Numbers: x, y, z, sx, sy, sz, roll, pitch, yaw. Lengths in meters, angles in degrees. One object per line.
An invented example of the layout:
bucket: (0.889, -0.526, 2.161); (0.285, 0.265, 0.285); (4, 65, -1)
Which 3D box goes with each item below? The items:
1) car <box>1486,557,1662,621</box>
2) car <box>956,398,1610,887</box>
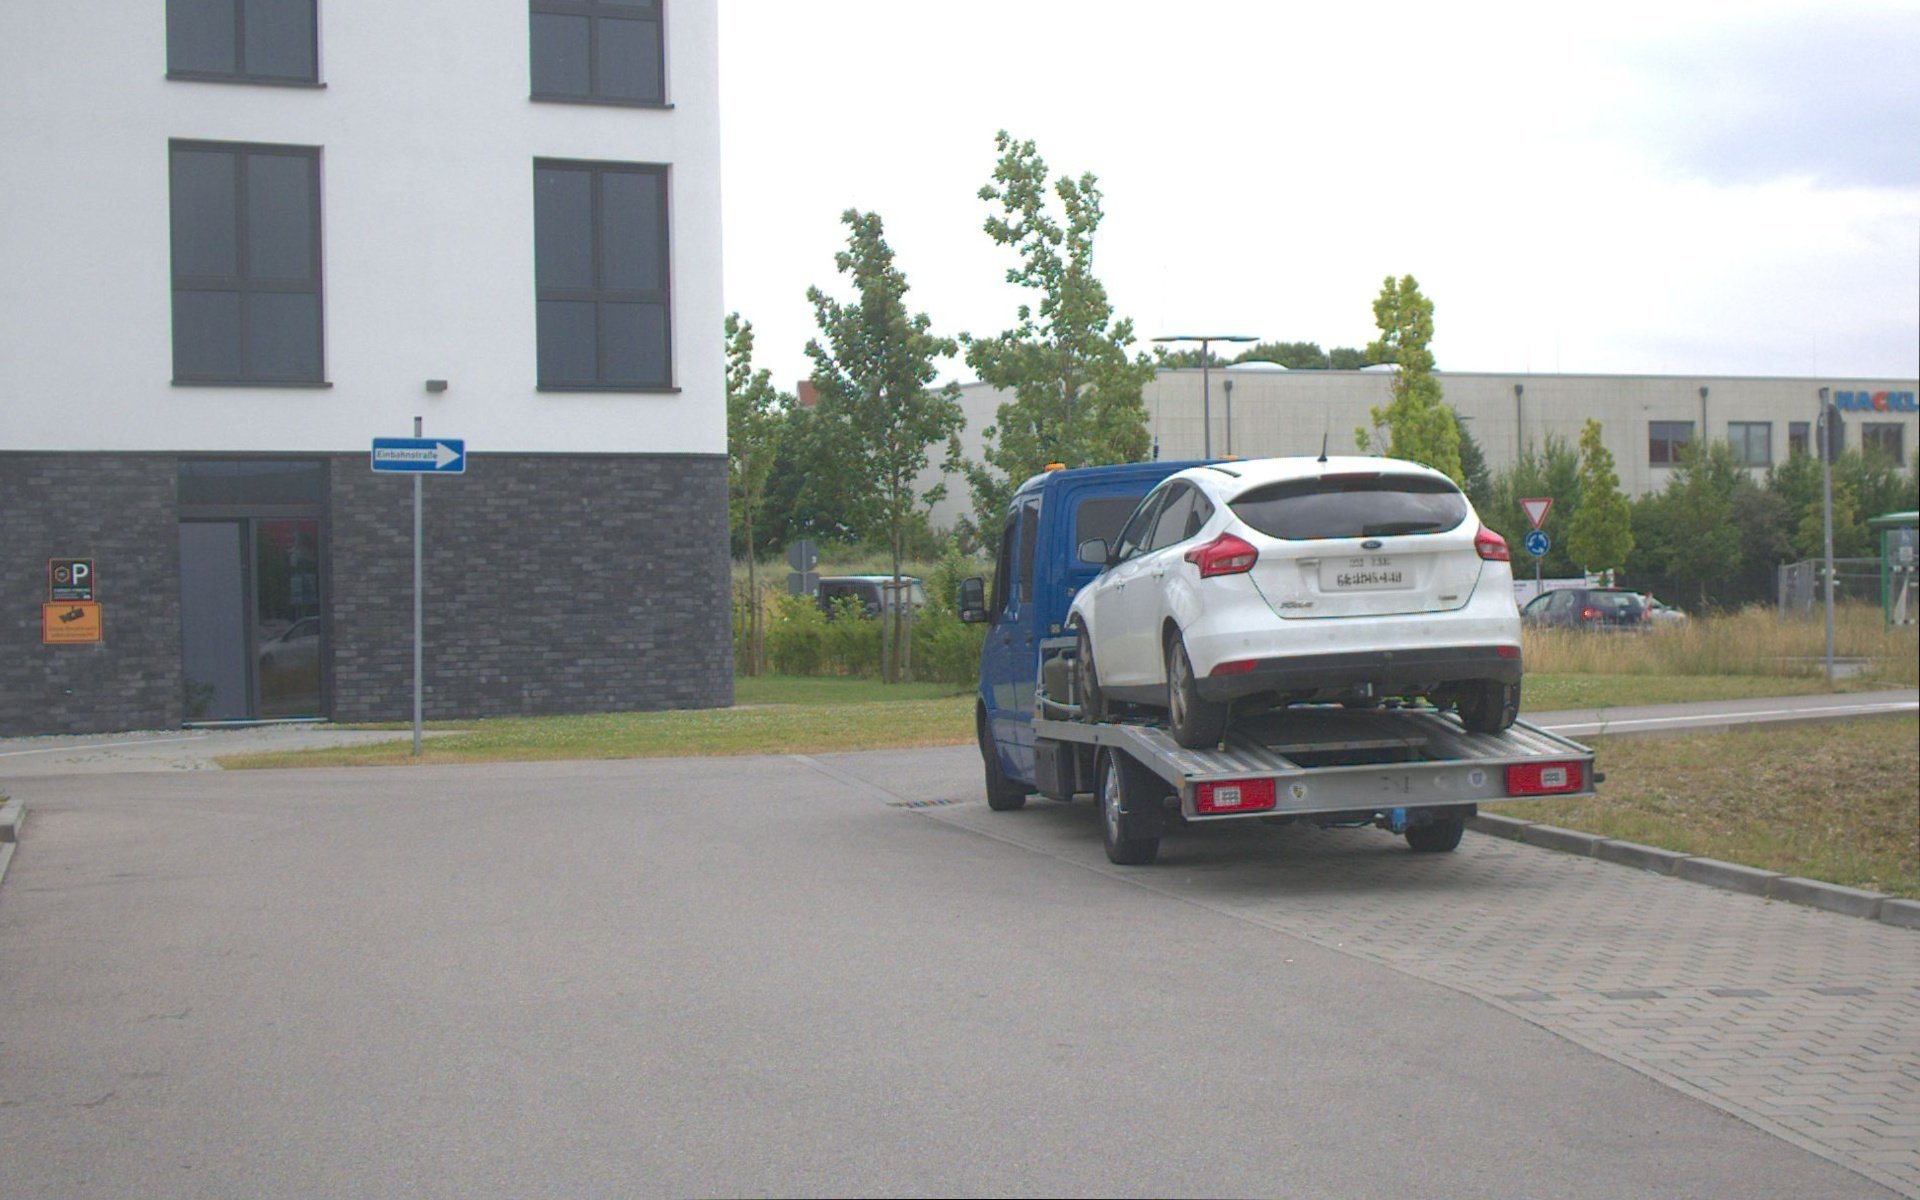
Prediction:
car: (12.164, -0.229, 68.338); (1.714, 1.220, 4.001); (-1, 1, -18)
car: (1.560, 0.200, 20.454); (2.193, 2.315, 7.858); (-1, 0, -7)
